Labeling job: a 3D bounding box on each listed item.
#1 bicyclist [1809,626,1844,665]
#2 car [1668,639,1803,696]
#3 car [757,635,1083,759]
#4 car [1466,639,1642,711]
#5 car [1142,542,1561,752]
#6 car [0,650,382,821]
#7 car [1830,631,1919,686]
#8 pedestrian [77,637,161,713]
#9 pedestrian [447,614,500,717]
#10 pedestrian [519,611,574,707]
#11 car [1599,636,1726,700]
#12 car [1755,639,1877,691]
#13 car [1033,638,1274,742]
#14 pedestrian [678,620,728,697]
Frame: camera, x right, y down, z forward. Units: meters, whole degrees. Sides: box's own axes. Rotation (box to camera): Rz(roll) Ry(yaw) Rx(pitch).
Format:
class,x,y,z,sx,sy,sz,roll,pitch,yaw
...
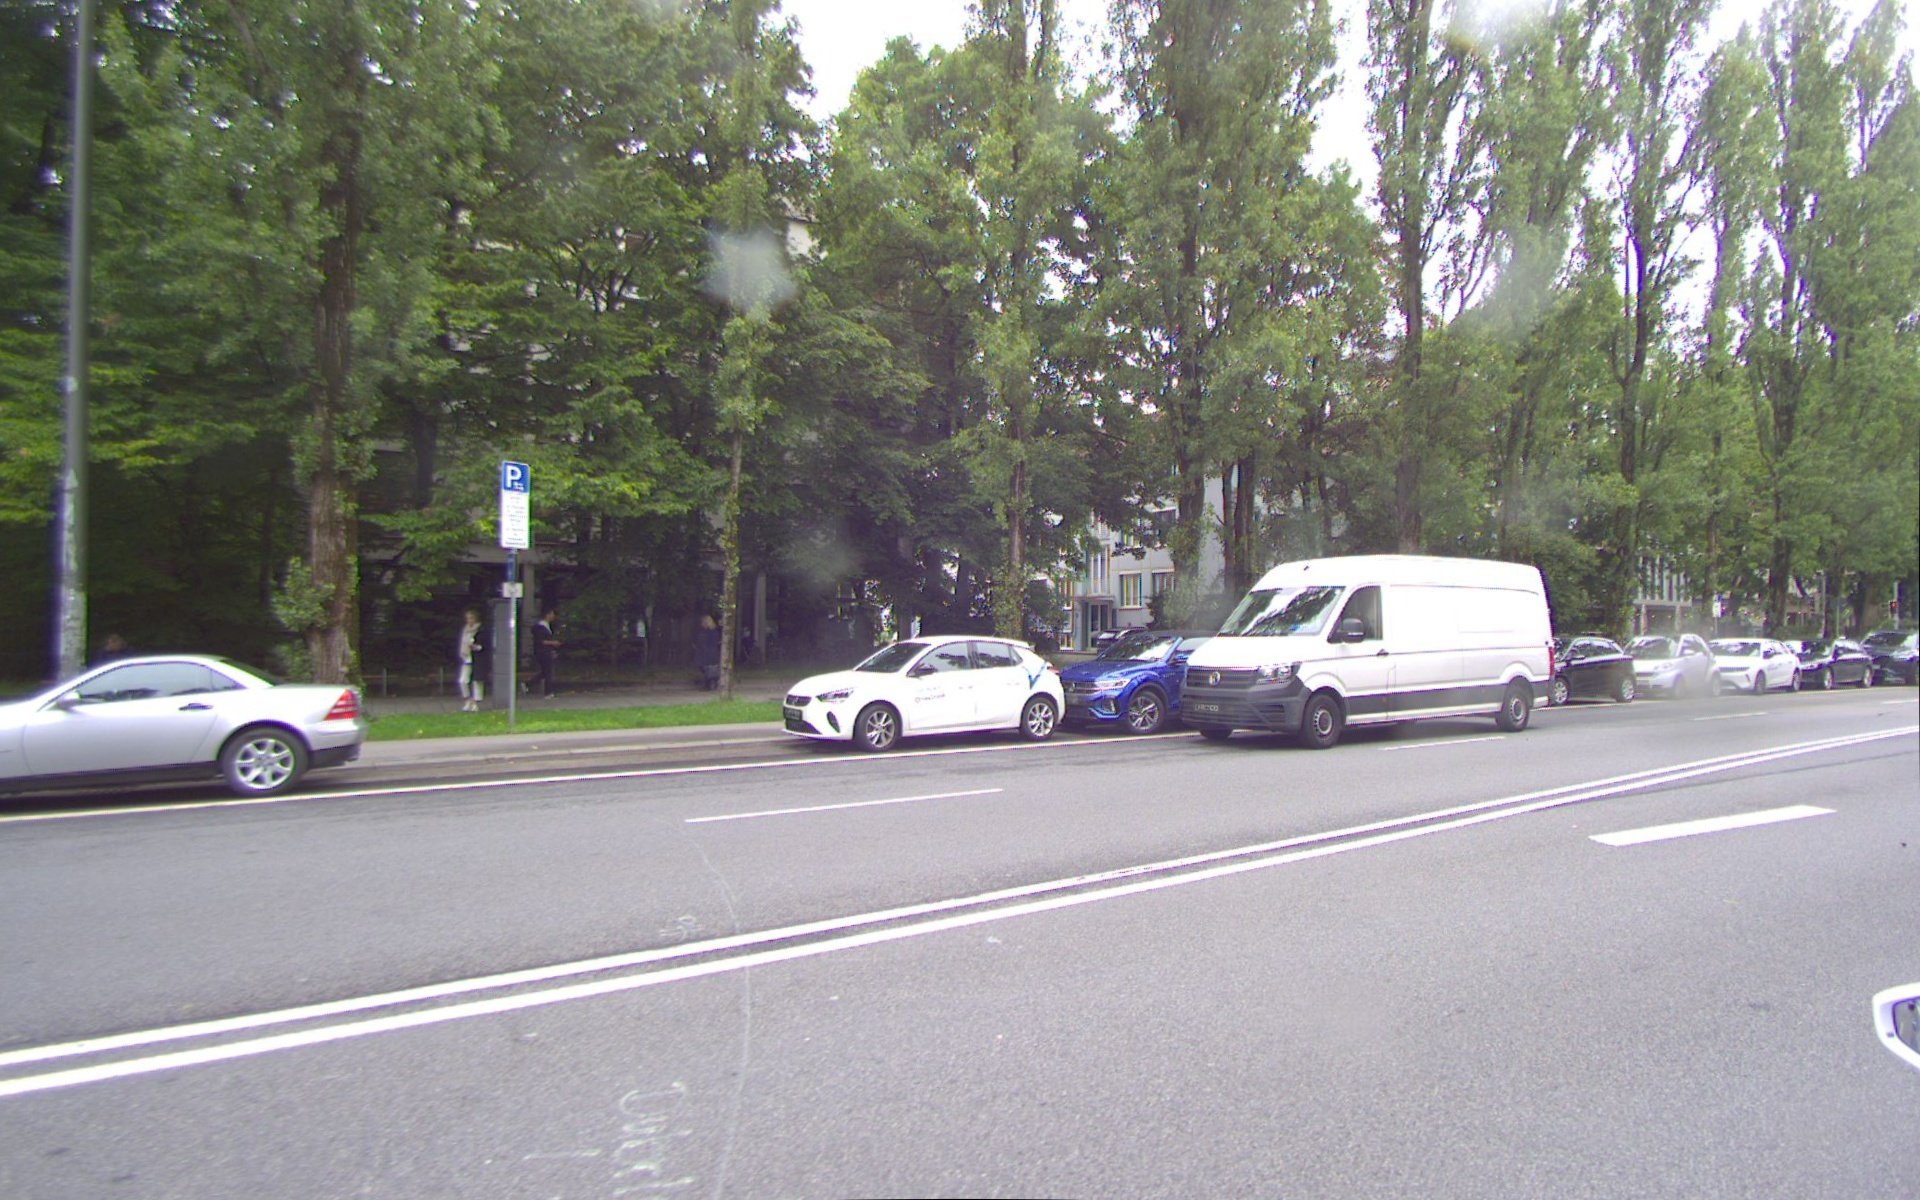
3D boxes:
class,x,y,z,sx,sy,sz,roll,pitch,yaw
bicyclist,39.031,2.031,45.258,0.812,1.745,0.904,1,-1,-21
car,20.640,1.755,26.686,4.124,1.407,1.614,1,-4,-34
car,-0.495,1.246,13.821,4.187,1.471,1.761,1,-4,-32
car,12.997,1.601,21.947,3.804,1.444,1.594,1,-4,-29
car,5.924,0.672,14.750,6.685,2.515,2.216,1,-3,-33
car,-7.701,1.165,9.164,4.185,1.351,1.818,1,-4,-31
car,30.245,1.872,32.556,4.646,1.675,1.839,1,-4,-33
pedestrian,-14.213,1.251,17.006,0.912,1.194,0.962,1,0,-30
pedestrian,-8.221,1.083,16.979,0.742,1.686,0.735,1,-2,-30
pedestrian,-8.009,1.122,19.450,0.879,1.795,0.733,1,0,-30
car,17.100,1.640,24.454,2.932,1.466,1.421,1,-4,-31
car,25.243,1.883,29.590,4.122,1.407,1.614,1,-4,-33
car,3.076,1.346,15.841,3.546,1.470,1.700,1,-3,-32
pedestrian,-5.622,1.272,21.968,0.871,1.620,0.733,1,0,-30
